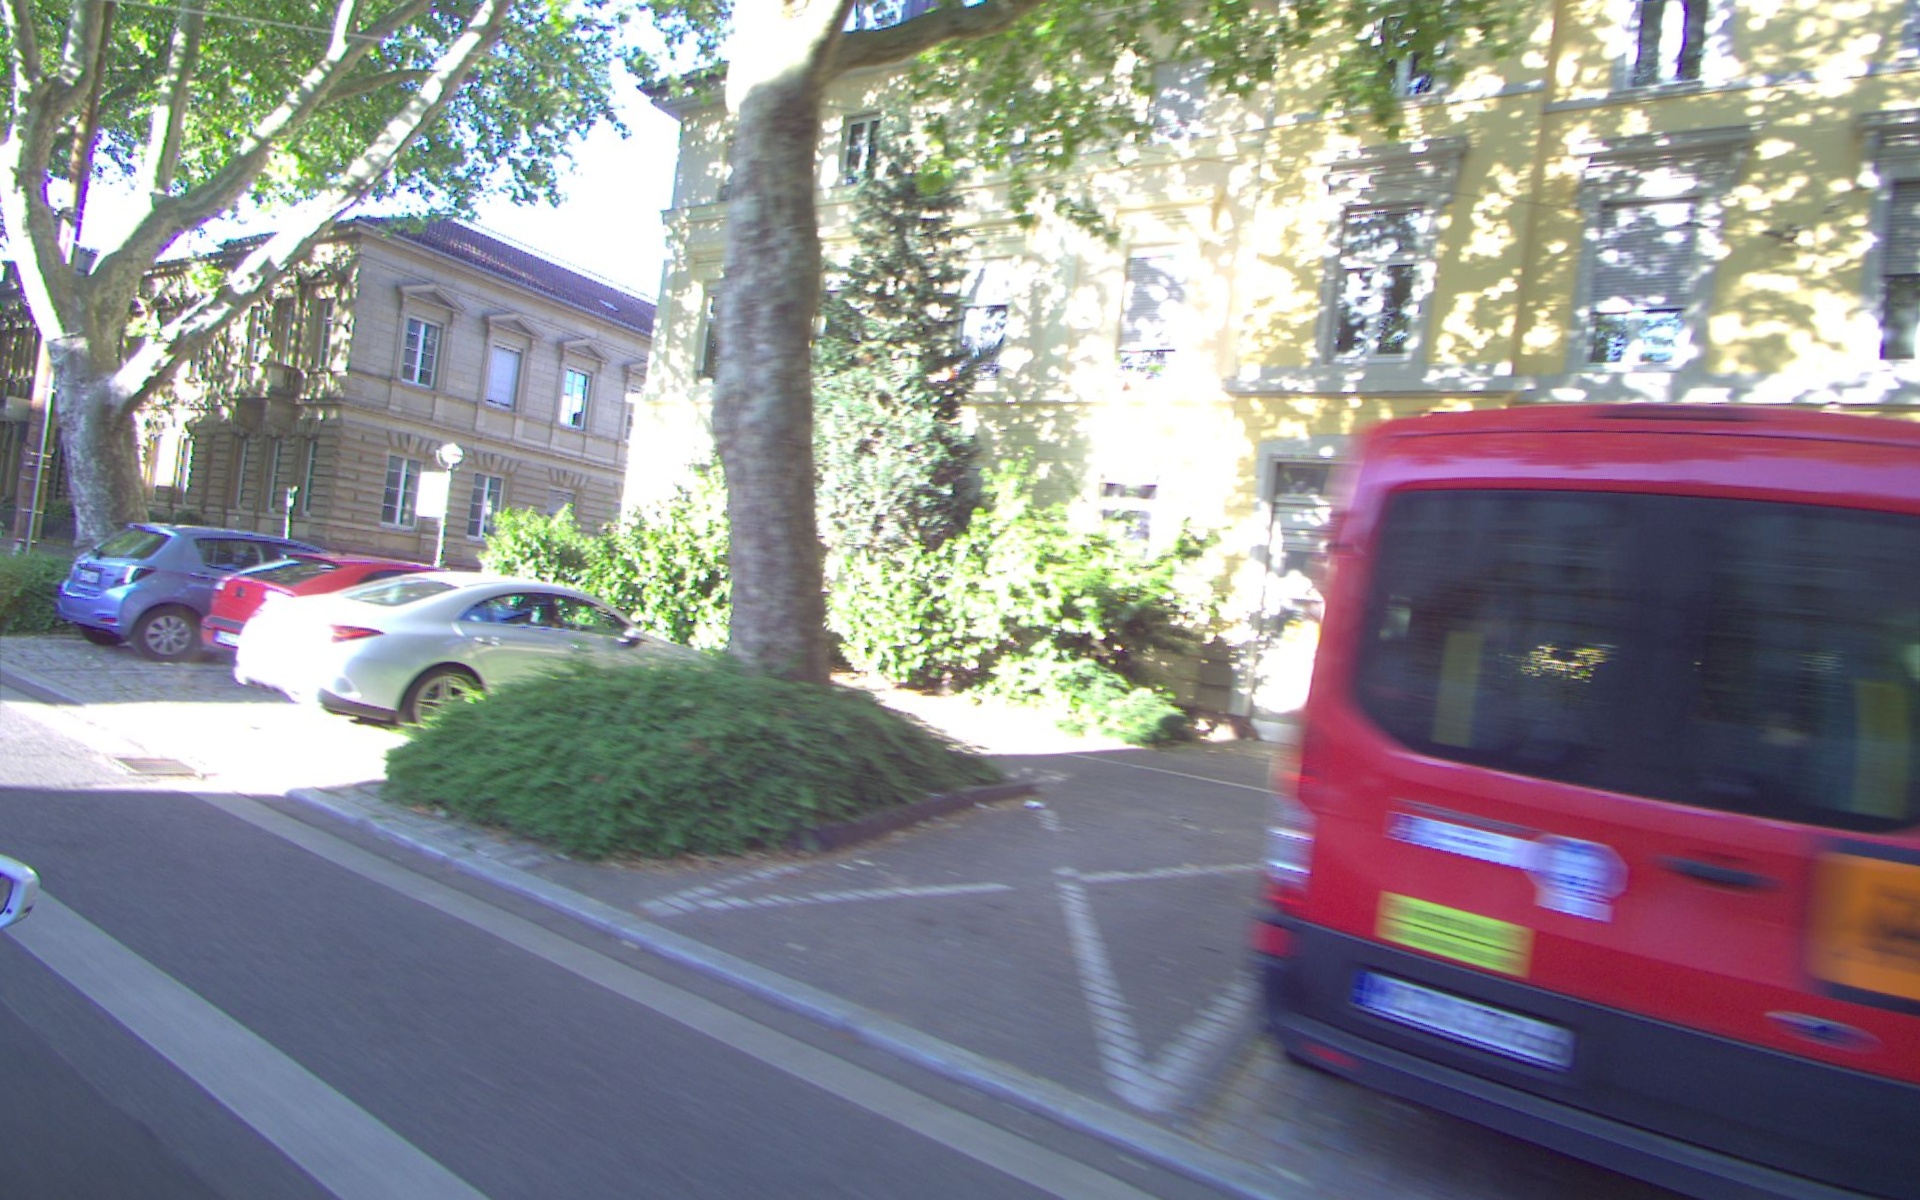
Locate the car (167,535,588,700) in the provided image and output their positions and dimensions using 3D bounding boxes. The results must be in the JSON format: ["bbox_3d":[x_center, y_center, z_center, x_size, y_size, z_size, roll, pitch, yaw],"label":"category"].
[{"bbox_3d":[-6.306,0.241,11.371,1.651,1.404,3.760,7,0,25],"label":"car"}]

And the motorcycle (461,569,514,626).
[{"bbox_3d":[-13.987,-0.101,29.741,0.566,1.448,2.258,8,-1,-44],"label":"motorcycle"}]

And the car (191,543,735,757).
[{"bbox_3d":[-4.374,0.477,9.582,1.731,1.434,4.290,7,0,32],"label":"car"}]

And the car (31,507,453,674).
[{"bbox_3d":[-8.547,-0.022,12.321,1.653,1.526,3.759,7,-2,31],"label":"car"}]

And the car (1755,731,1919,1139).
[{"bbox_3d":[5.149,1.586,4.516,1.640,1.548,3.742,7,0,28],"label":"car"}]

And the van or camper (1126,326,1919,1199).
[{"bbox_3d":[2.991,0.774,4.986,2.248,2.551,5.824,8,1,28],"label":"van or camper"}]

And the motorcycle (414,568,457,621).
[{"bbox_3d":[-15.101,-0.173,28.936,0.492,1.312,2.158,9,-1,-40],"label":"motorcycle"}]
